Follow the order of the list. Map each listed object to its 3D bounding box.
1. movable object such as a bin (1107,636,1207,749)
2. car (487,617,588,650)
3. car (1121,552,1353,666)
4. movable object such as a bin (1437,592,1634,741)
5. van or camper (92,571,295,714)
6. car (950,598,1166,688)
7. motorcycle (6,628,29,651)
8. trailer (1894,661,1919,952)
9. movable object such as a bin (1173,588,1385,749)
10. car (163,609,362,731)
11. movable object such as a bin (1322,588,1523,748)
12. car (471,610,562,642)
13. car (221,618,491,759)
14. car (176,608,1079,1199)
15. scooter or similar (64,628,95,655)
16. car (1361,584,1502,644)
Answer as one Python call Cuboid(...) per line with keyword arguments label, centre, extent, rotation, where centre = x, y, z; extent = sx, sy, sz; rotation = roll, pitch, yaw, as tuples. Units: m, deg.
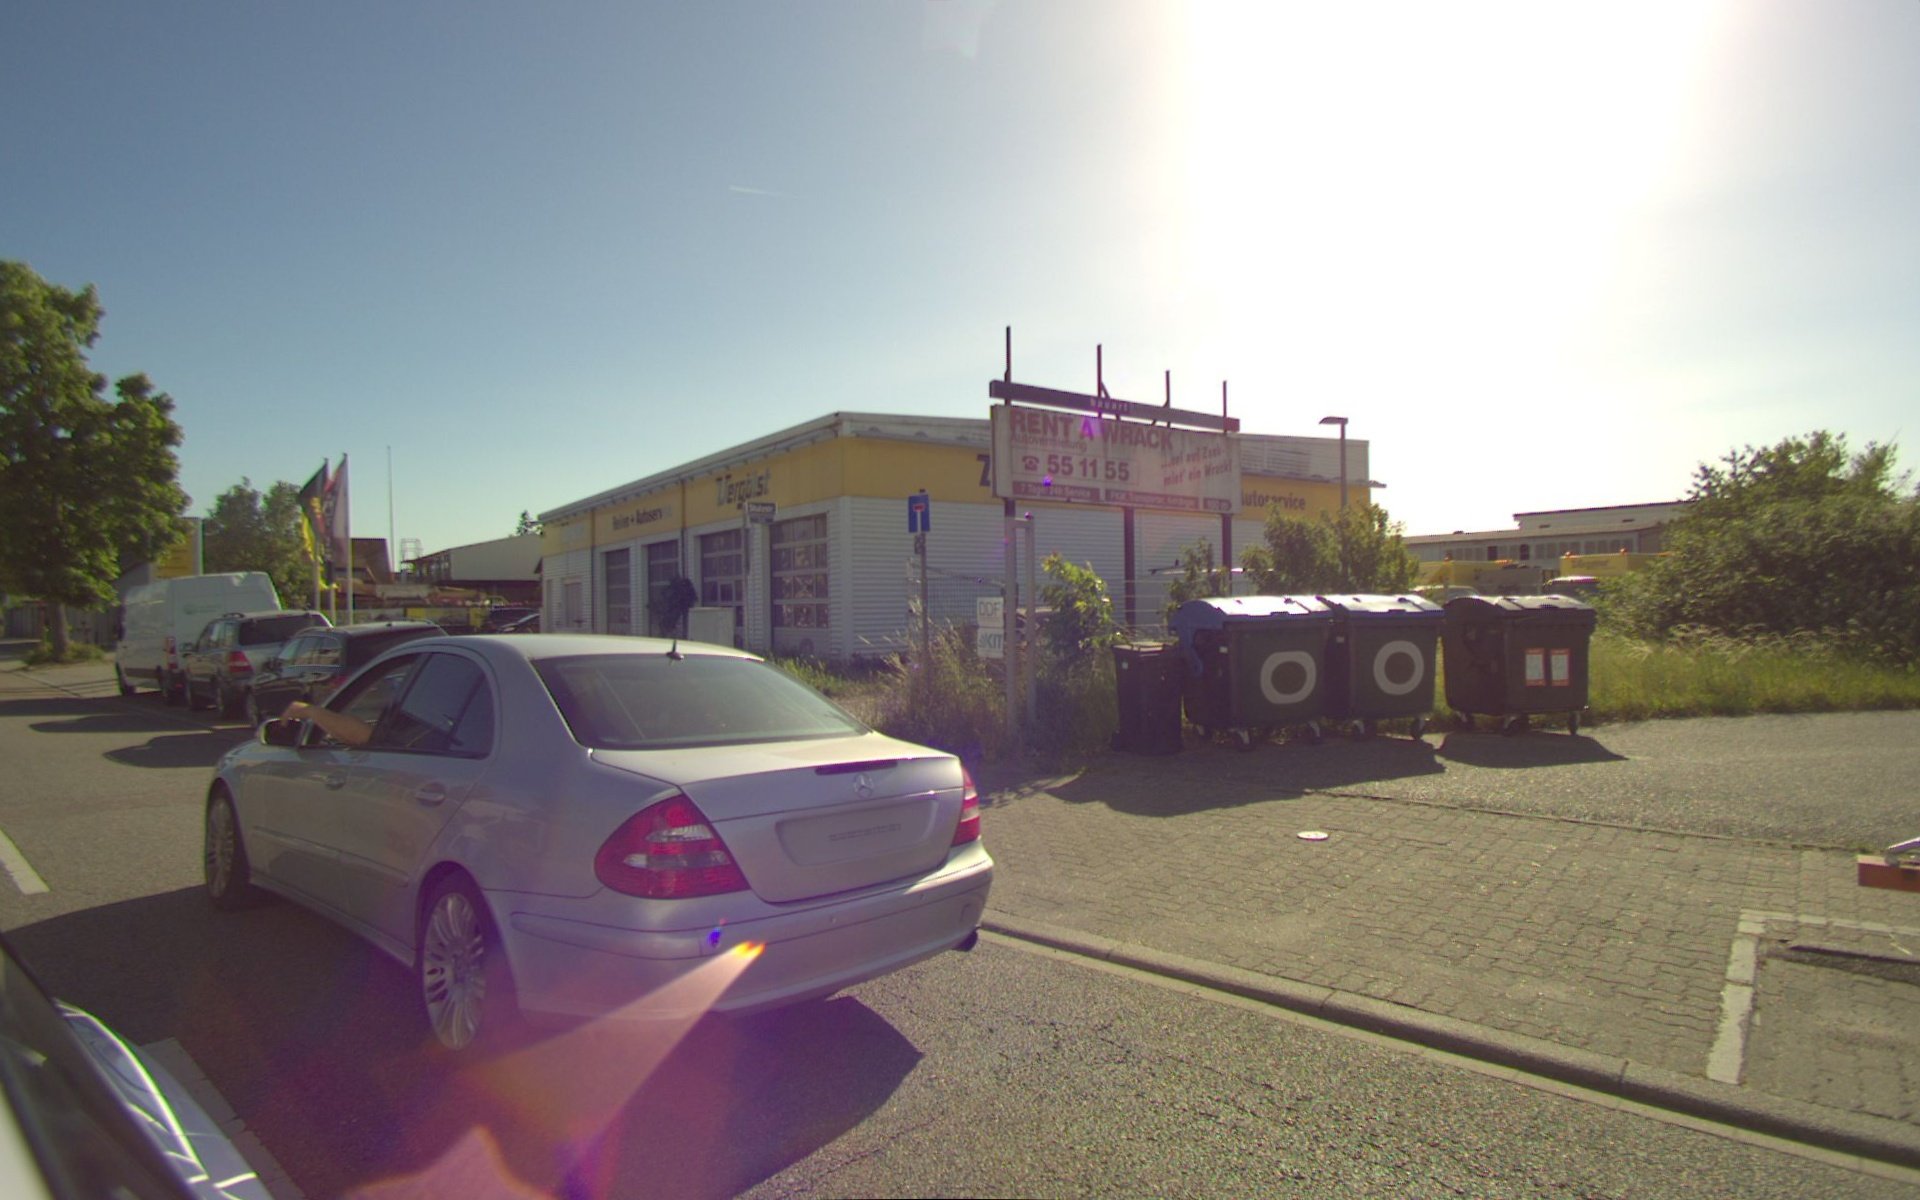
Cuboid(label="movable object such as a bin", centre=(1.850, 0.847, 9.562), extent=(0.606, 0.979, 0.752), rotation=(0, 0, -25))
Cuboid(label="car", centre=(-21.454, 1.655, 51.473), extent=(4.385, 1.519, 2.004), rotation=(-1, -1, -37))
Cuboid(label="car", centre=(6.590, 0.186, 23.869), extent=(5.365, 2.424, 2.212), rotation=(-1, -1, -32))
Cuboid(label="movable object such as a bin", centre=(5.999, 0.650, 10.592), extent=(1.441, 1.416, 1.099), rotation=(-1, 0, -21))
Cuboid(label="van or camper", centre=(-16.591, 0.843, 21.746), extent=(6.400, 2.568, 2.050), rotation=(-2, 3, 41))
Cuboid(label="car", centre=(2.016, 0.792, 20.216), extent=(4.105, 1.586, 1.920), rotation=(-1, -1, -39))
Cuboid(label="motorcycle", centre=(-55.581, 2.313, 59.694), extent=(2.538, 1.242, 0.692), rotation=(-1, 1, 41))
Cuboid(label="trailer", centre=(6.051, 0.814, 1.847), extent=(6.241, 1.088, 2.352), rotation=(-2, 2, 41))
Cuboid(label="movable object such as a bin", centre=(3.070, 0.610, 9.825), extent=(1.595, 1.416, 1.099), rotation=(-1, 0, -21))
Cuboid(label="car", centre=(-12.487, 1.131, 17.995), extent=(4.576, 1.750, 1.972), rotation=(-2, 3, 44))
Cuboid(label="movable object such as a bin", centre=(4.598, 0.633, 10.108), extent=(1.441, 1.453, 1.099), rotation=(-1, 0, -21))
Cuboid(label="car", centre=(-24.512, 1.421, 56.006), extent=(4.262, 1.668, 2.004), rotation=(-1, -1, -37))
Cuboid(label="car", centre=(-8.676, 1.113, 14.331), extent=(5.000, 1.521, 1.781), rotation=(-2, 3, 42))
Cuboid(label="car", centre=(-1.790, 0.804, 4.399), extent=(4.358, 1.458, 1.729), rotation=(-1, 1, 41))
Cuboid(label="scooter or similar", centre=(-42.116, 1.969, 48.413), extent=(1.568, 1.280, 0.479), rotation=(-1, 0, 24))
Cuboid(label="car", centre=(13.407, 0.367, 28.706), extent=(4.103, 1.586, 1.853), rotation=(-1, -1, -36))
